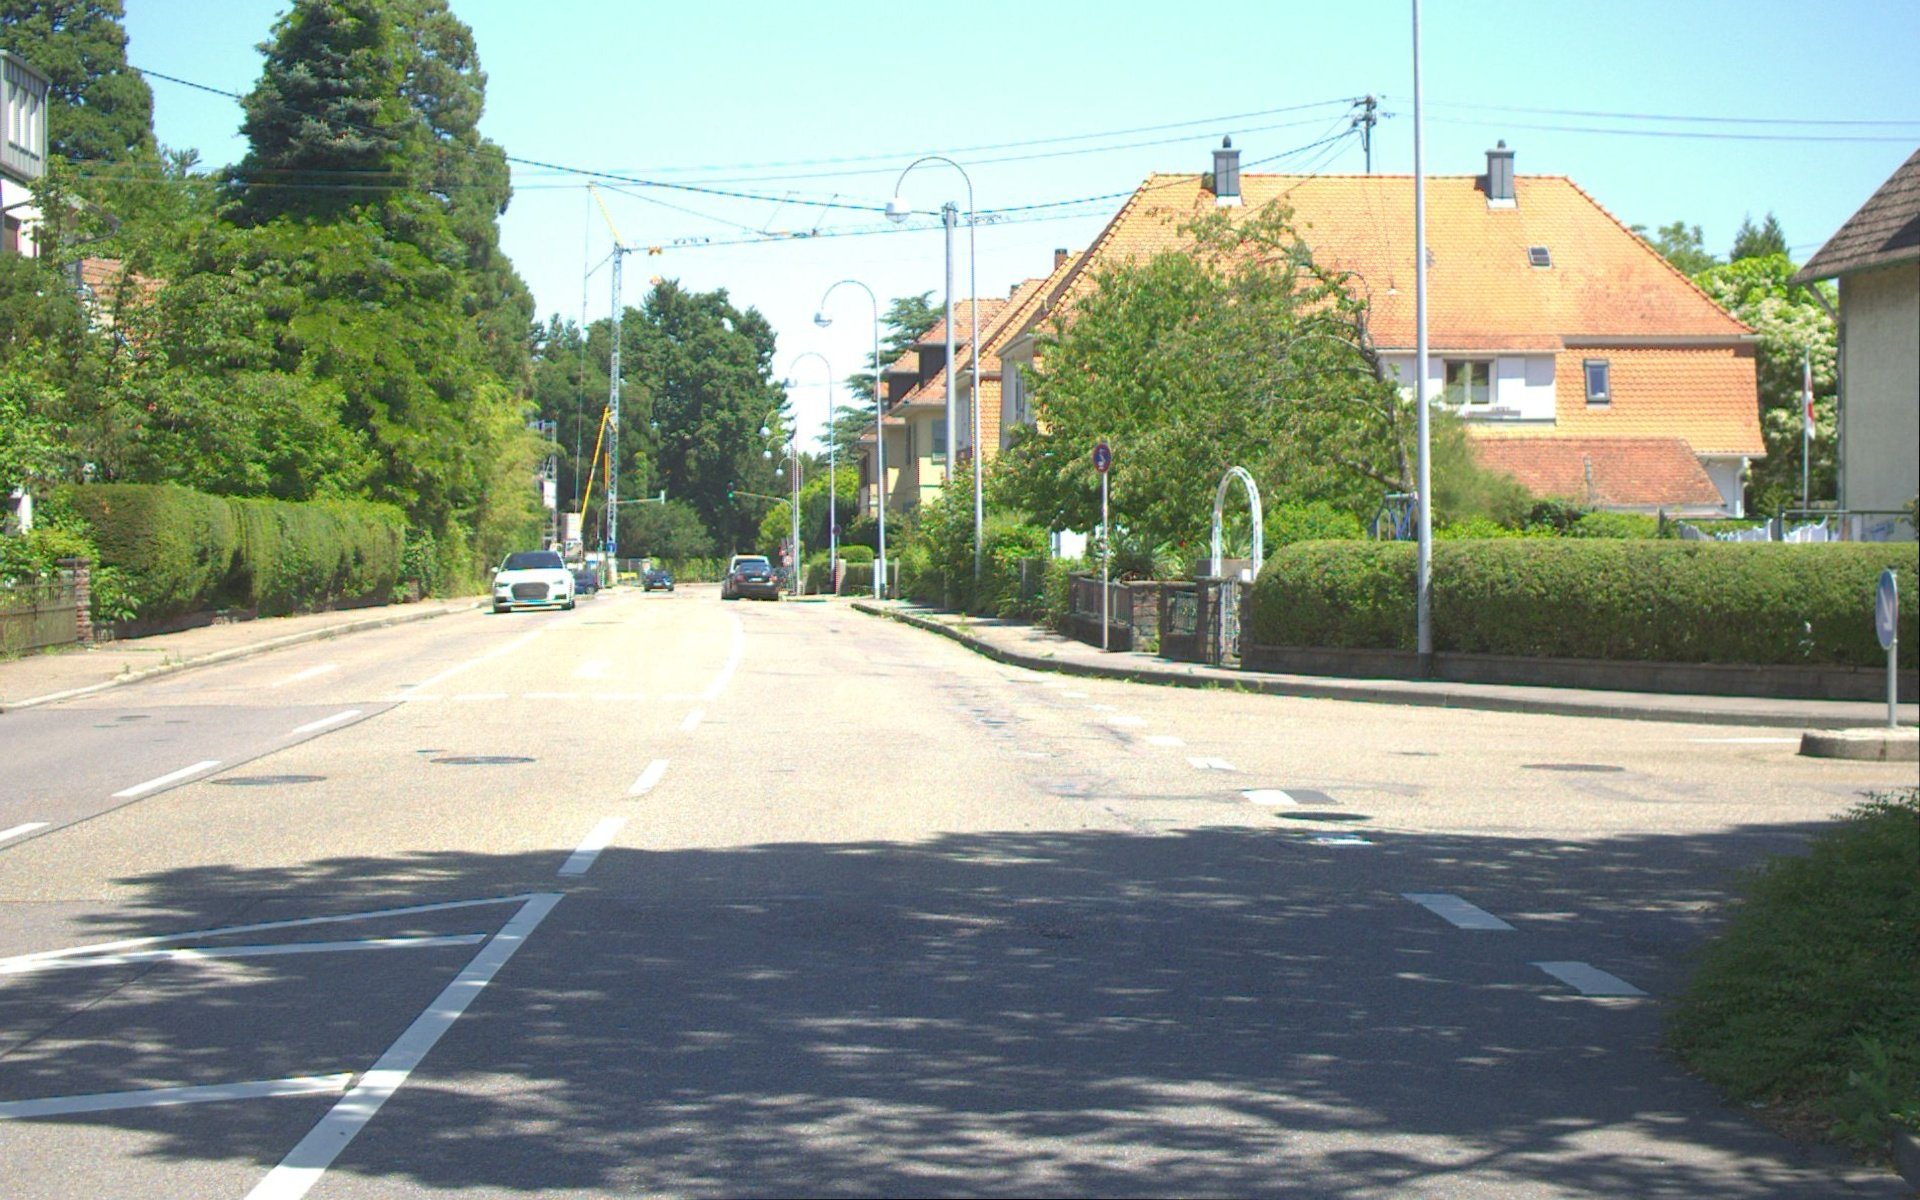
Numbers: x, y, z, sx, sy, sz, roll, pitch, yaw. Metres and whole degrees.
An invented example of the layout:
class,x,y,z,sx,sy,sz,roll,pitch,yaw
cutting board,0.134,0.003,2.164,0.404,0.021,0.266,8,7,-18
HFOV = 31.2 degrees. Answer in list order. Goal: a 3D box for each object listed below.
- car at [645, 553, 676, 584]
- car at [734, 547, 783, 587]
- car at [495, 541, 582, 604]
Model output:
class,x,y,z,sx,sy,sz,roll,pitch,yaw
car,-19.513,-2.052,224.180,1.993,1.844,4.712,0,3,-5
car,-7.639,-1.229,129.995,1.692,1.414,4.551,0,0,-5
car,-9.750,-0.652,79.774,1.680,1.368,4.207,-2,1,-3
